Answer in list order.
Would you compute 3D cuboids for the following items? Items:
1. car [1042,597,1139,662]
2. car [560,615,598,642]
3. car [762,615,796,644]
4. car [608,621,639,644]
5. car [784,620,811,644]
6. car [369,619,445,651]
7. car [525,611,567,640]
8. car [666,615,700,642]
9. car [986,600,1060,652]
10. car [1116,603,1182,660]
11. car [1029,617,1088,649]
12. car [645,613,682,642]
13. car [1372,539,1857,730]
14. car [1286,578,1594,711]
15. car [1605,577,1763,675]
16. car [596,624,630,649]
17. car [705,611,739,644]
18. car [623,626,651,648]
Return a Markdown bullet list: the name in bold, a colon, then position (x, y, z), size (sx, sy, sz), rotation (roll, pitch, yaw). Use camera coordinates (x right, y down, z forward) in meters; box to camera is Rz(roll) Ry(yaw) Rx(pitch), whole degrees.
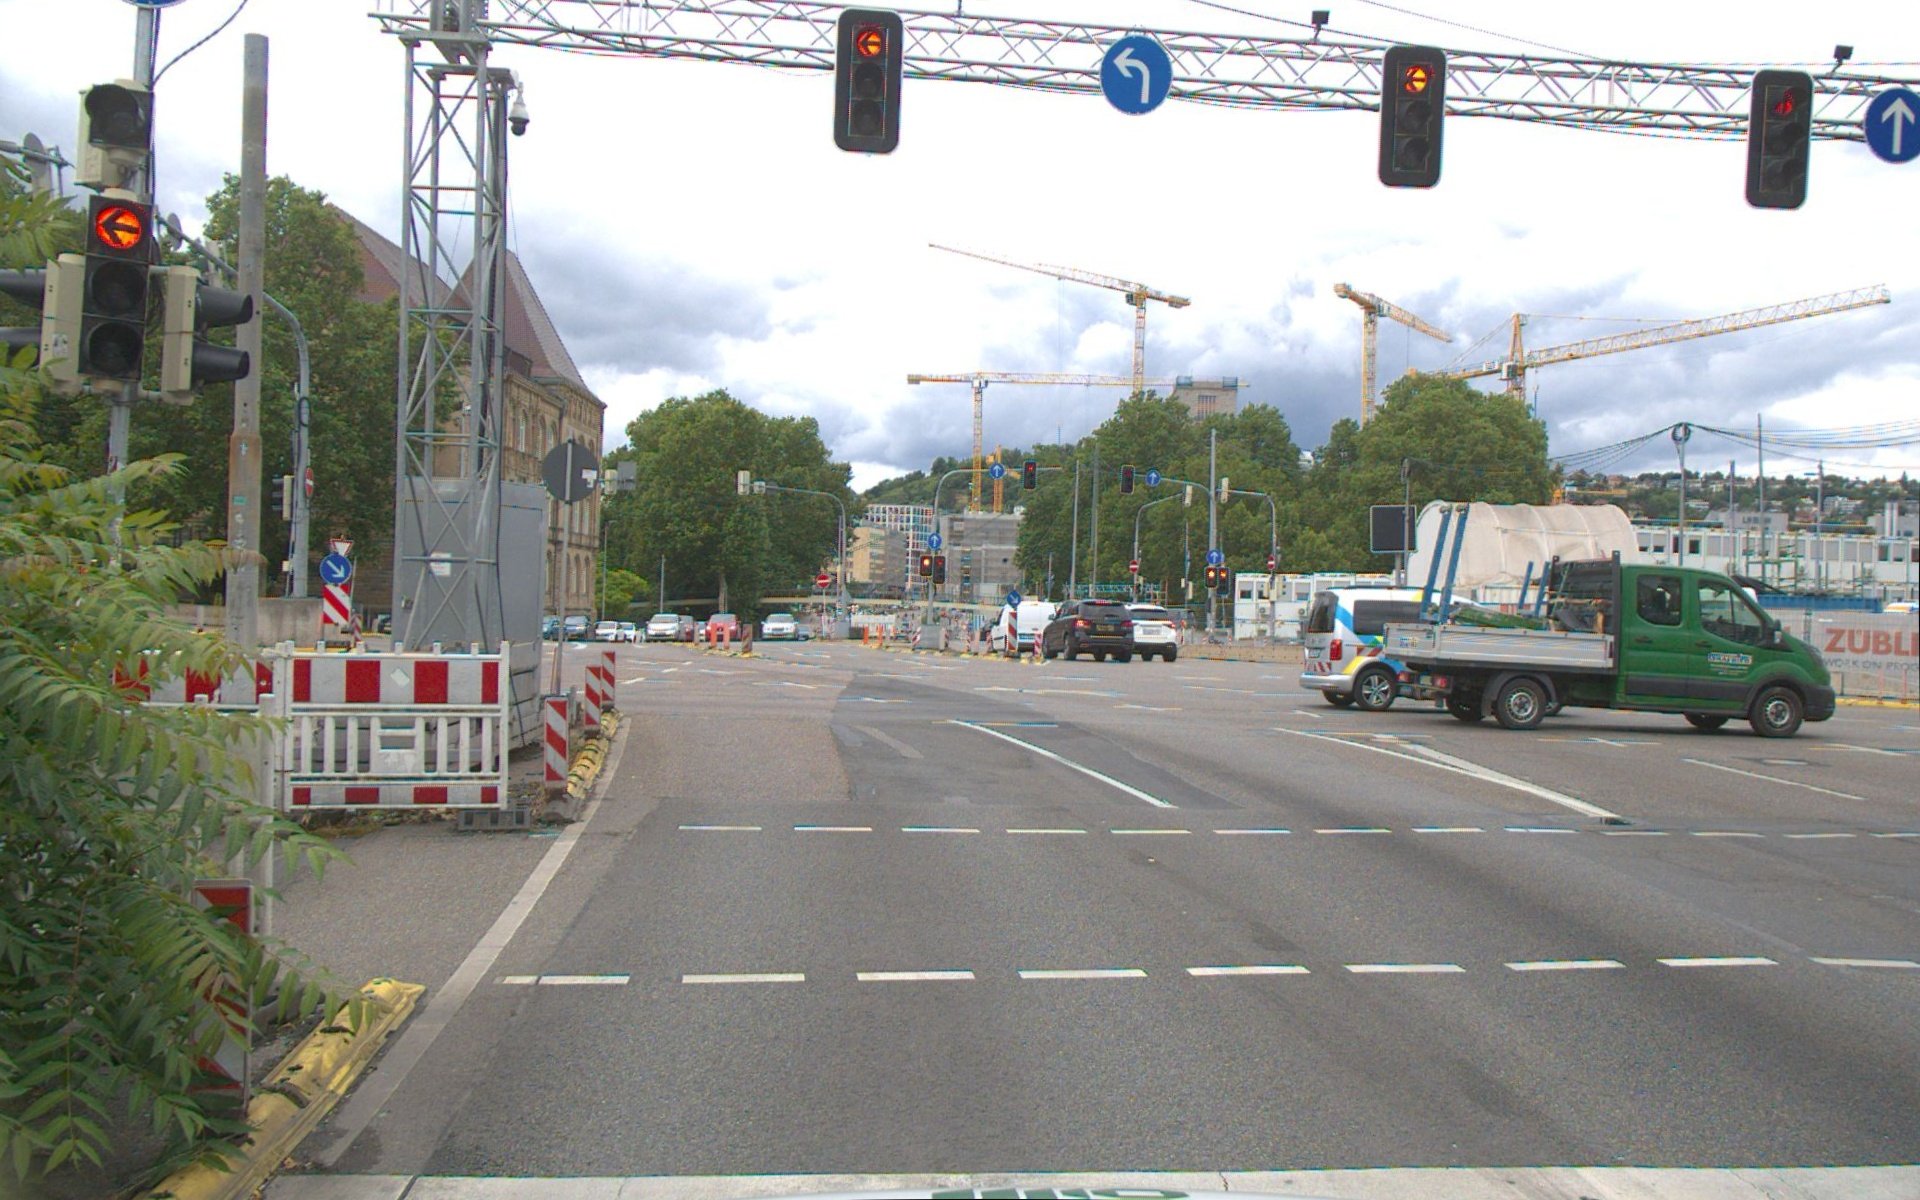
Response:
- **car**: position (3.771, 0.835, 48.519), size (1.799, 1.776, 4.245), rotation (1, 0, -10)
- **car**: position (-21.300, 1.575, 92.558), size (1.644, 1.422, 3.677), rotation (1, 0, -7)
- **car**: position (-9.312, 1.516, 84.893), size (1.644, 1.422, 3.677), rotation (1, 0, -7)
- **car**: position (-21.966, 2.141, 108.035), size (1.643, 1.423, 3.677), rotation (1, -3, -6)
- **car**: position (-10.352, 2.045, 105.166), size (1.644, 1.422, 3.677), rotation (1, 0, -7)
- **car**: position (-26.020, 1.638, 77.959), size (1.640, 1.422, 3.685), rotation (1, 0, 15)
- **car**: position (-21.445, 1.310, 85.724), size (1.644, 1.422, 3.677), rotation (1, 0, -7)
- **car**: position (-15.312, 1.543, 91.523), size (1.644, 1.422, 3.677), rotation (1, 0, -7)
- **car**: position (2.072, 0.844, 55.539), size (1.783, 1.653, 3.993), rotation (1, 0, -8)
- **car**: position (6.033, 0.991, 53.118), size (1.642, 1.732, 3.374), rotation (1, 0, -1)
- **car**: position (4.499, 1.501, 76.028), size (1.650, 1.422, 3.070), rotation (1, 0, -19)
- **car**: position (-15.270, 1.415, 85.364), size (1.644, 1.422, 3.677), rotation (1, 0, -7)
- **car**: position (8.670, 0.453, 22.228), size (5.647, 2.345, 2.301), rotation (1, 0, -6)
- **car**: position (7.317, 0.668, 25.466), size (4.182, 1.915, 1.829), rotation (1, 0, -4)
- **car**: position (20.816, 0.738, 47.675), size (3.902, 2.708, 1.683), rotation (1, 0, 13)
- **car**: position (-21.205, 2.238, 101.191), size (1.644, 1.422, 3.677), rotation (1, 0, -7)
- **car**: position (-12.138, 1.373, 84.504), size (1.644, 1.608, 3.677), rotation (1, 0, -7)
- **car**: position (-22.450, 2.582, 115.055), size (1.644, 1.422, 3.677), rotation (1, 0, -7)
